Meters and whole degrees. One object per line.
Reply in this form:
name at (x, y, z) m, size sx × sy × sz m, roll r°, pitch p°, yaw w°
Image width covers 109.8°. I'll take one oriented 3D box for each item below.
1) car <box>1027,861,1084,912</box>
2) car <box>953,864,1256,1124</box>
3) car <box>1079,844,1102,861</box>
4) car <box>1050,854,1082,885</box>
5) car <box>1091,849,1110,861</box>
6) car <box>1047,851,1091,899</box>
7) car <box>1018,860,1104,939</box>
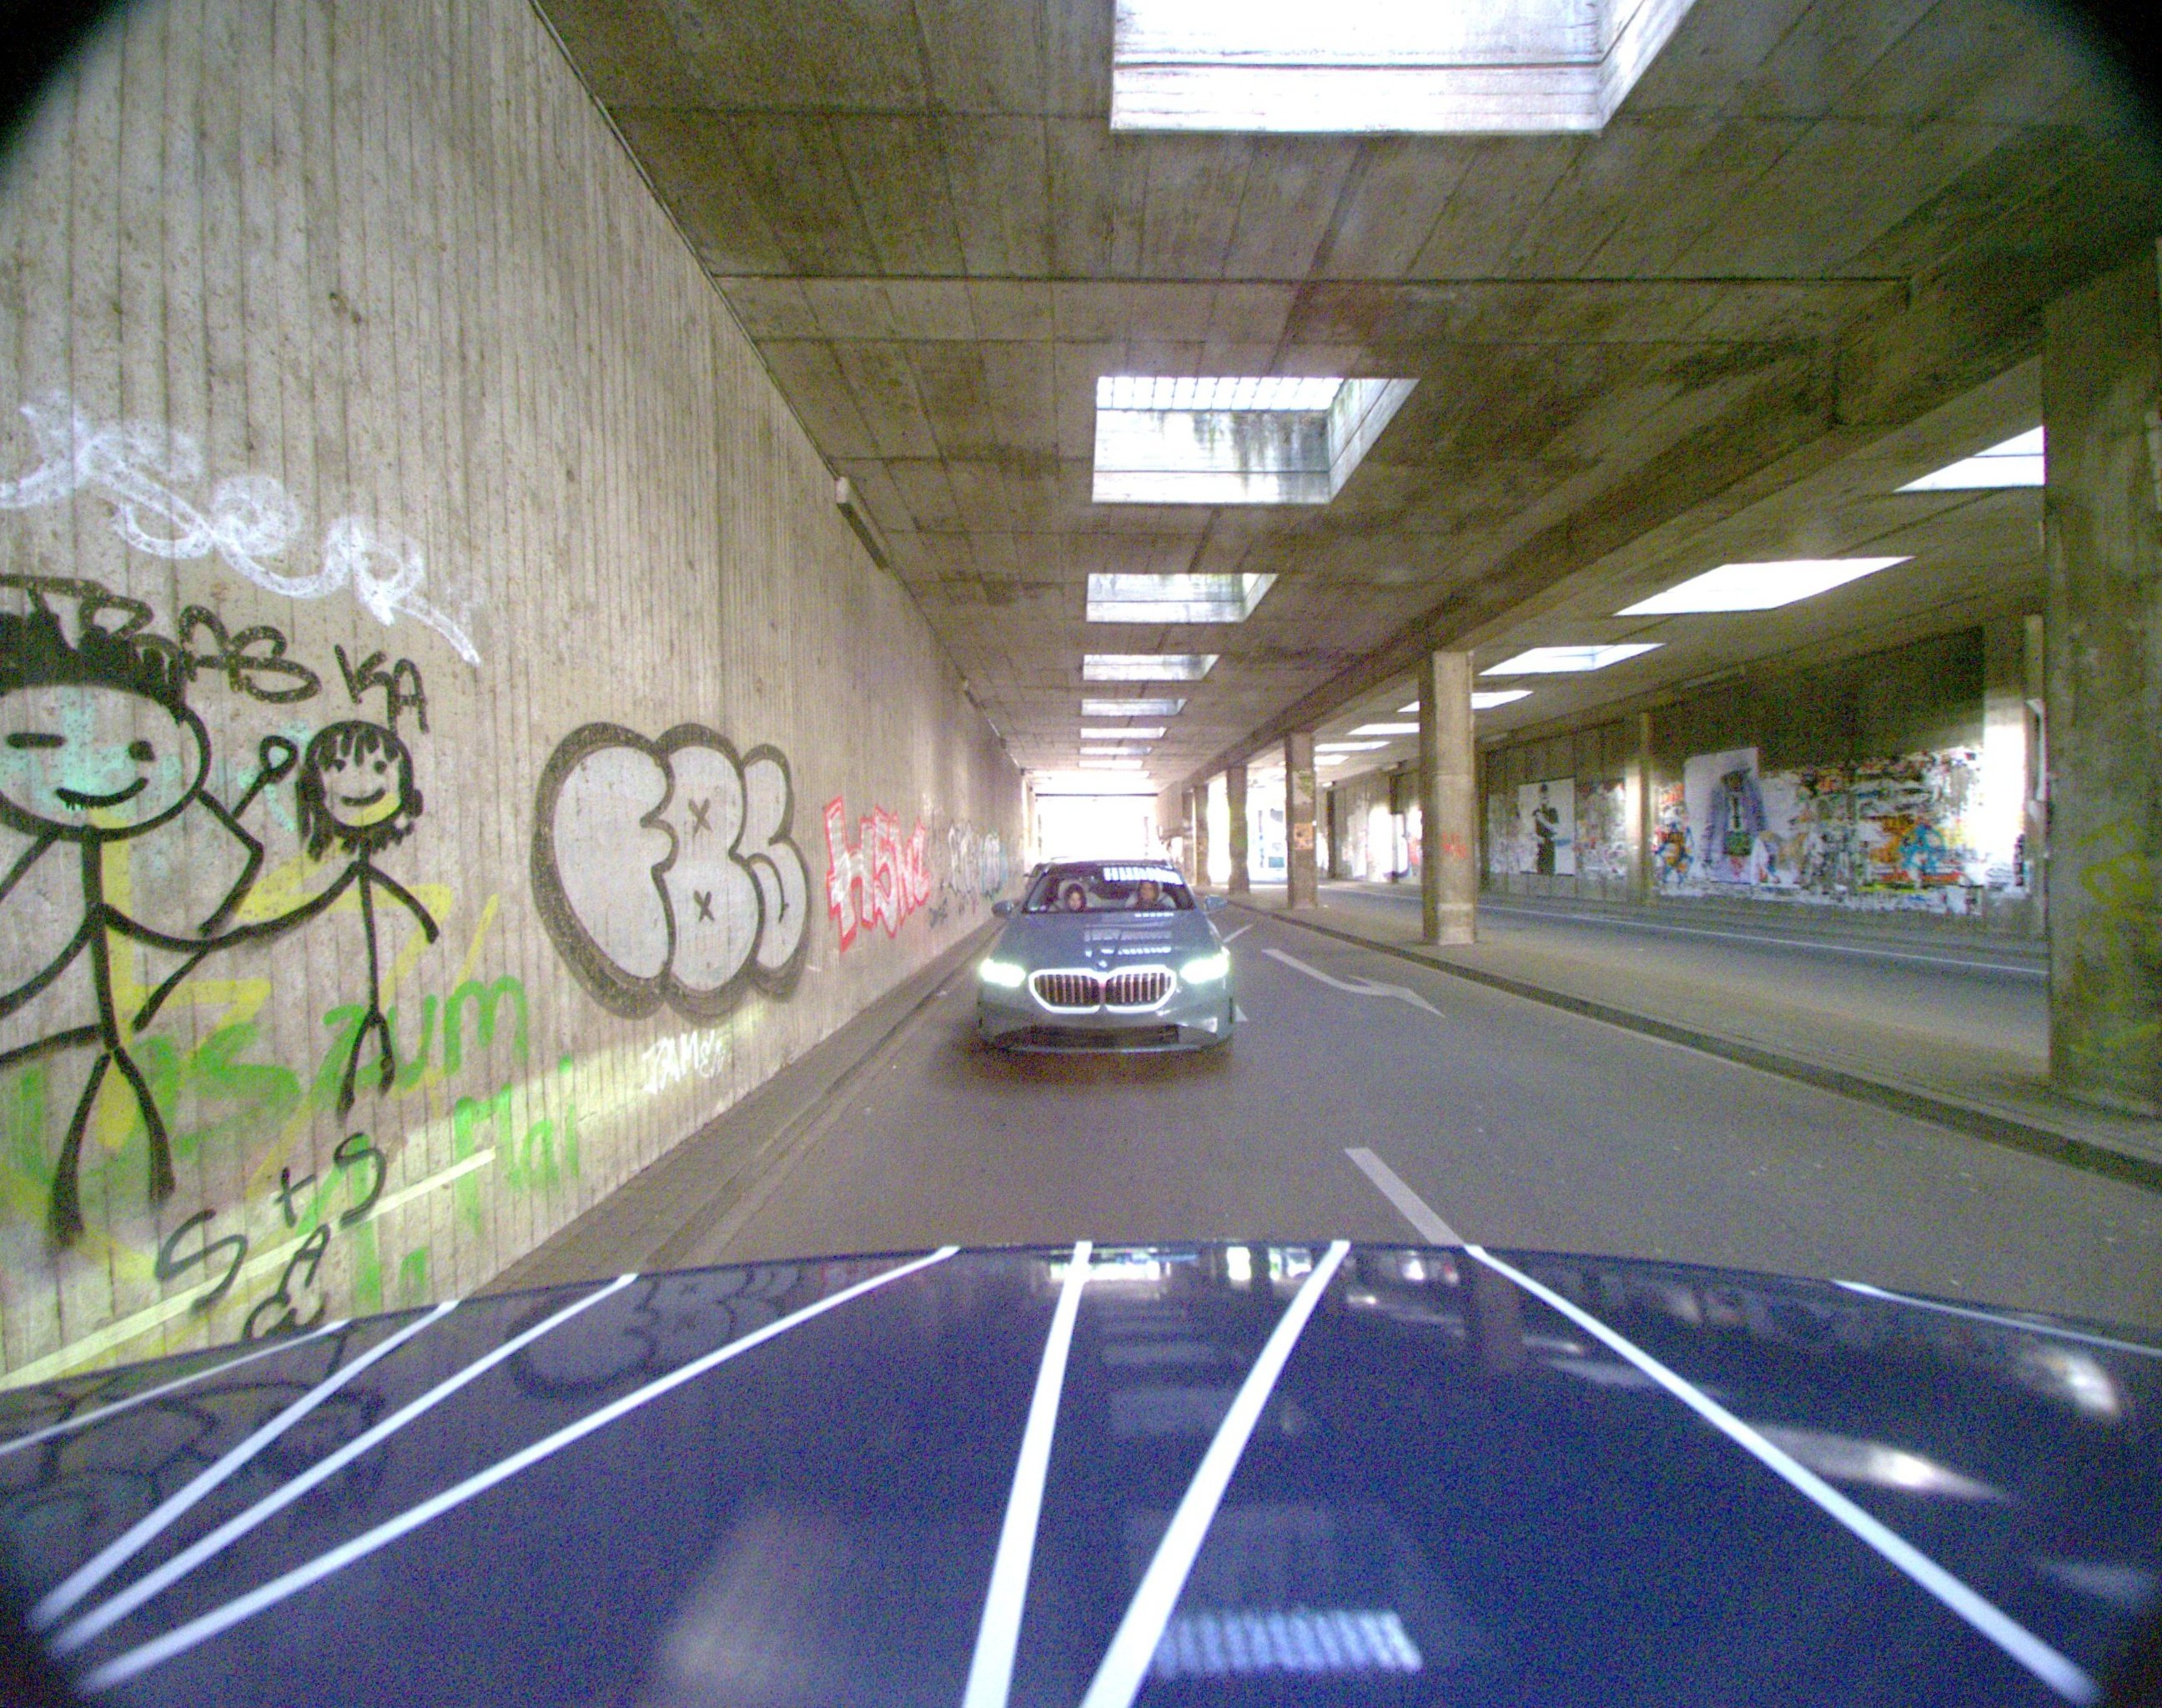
car at (-0.752, 0.956, 23.925) m, size 1.592 × 1.432 × 3.806 m, roll -2°, pitch 0°, yaw 0°
car at (0.135, 0.912, 7.290) m, size 1.861 × 1.516 × 5.042 m, roll -2°, pitch 0°, yaw 0°
car at (1.296, -0.180, 103.671) m, size 2.161 × 2.150 × 4.785 m, roll -2°, pitch 0°, yaw -12°
car at (-0.796, 0.814, 41.259) m, size 1.592 × 1.562 × 3.694 m, roll -2°, pitch 0°, yaw 0°
car at (2.493, 0.150, 97.979) m, size 1.741 × 1.519 × 3.786 m, roll -2°, pitch 0°, yaw -9°
car at (-0.453, 0.779, 29.932) m, size 1.592 × 1.711 × 3.694 m, roll -2°, pitch 0°, yaw 0°
car at (-0.417, 0.927, 17.299) m, size 1.679 × 1.516 × 3.969 m, roll -2°, pitch 0°, yaw 0°
